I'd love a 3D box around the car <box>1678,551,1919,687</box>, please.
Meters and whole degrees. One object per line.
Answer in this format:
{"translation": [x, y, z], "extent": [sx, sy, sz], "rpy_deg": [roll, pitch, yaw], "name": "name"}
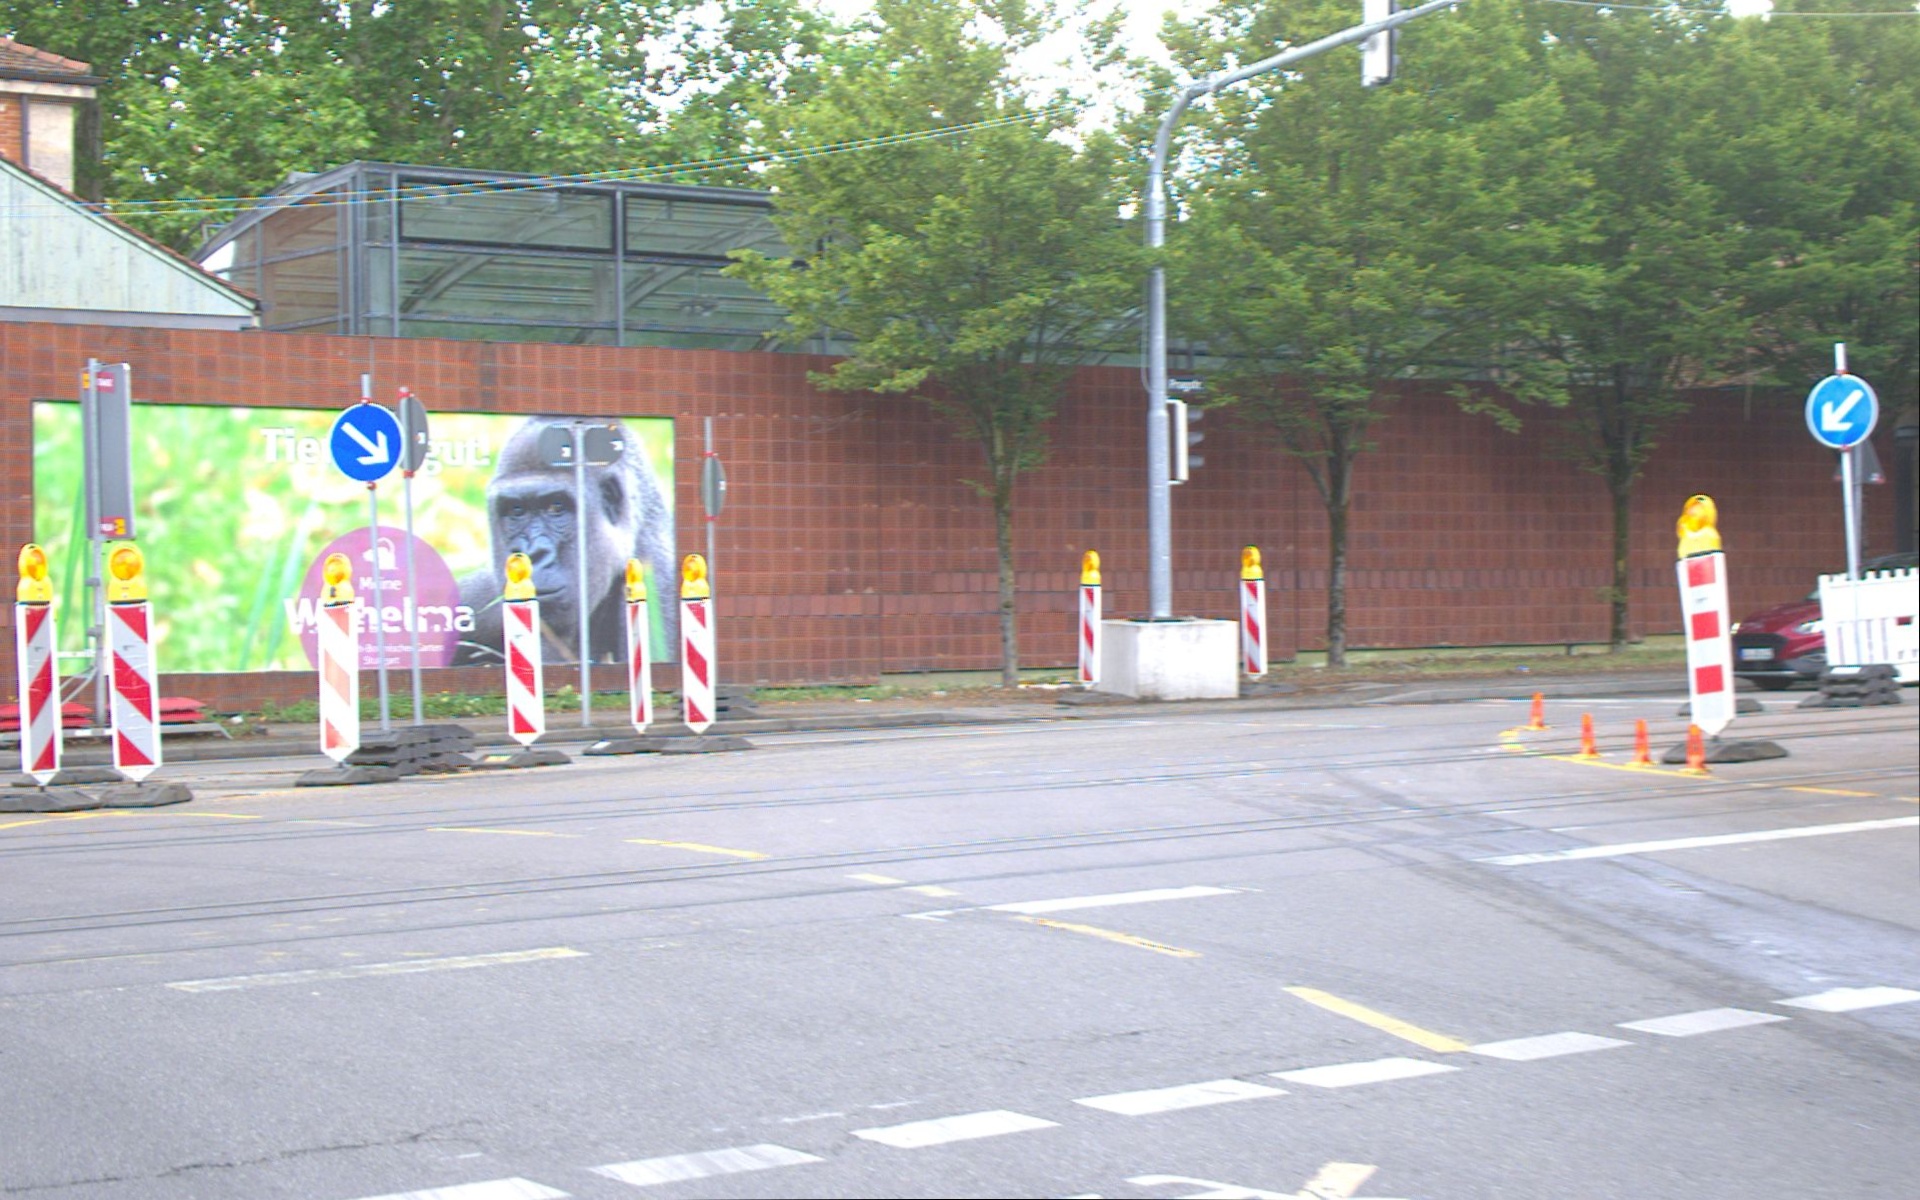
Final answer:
{"translation": [10.375, 0.205, 38.349], "extent": [4.443, 1.438, 1.880], "rpy_deg": [-1, -1, -28], "name": "car"}
